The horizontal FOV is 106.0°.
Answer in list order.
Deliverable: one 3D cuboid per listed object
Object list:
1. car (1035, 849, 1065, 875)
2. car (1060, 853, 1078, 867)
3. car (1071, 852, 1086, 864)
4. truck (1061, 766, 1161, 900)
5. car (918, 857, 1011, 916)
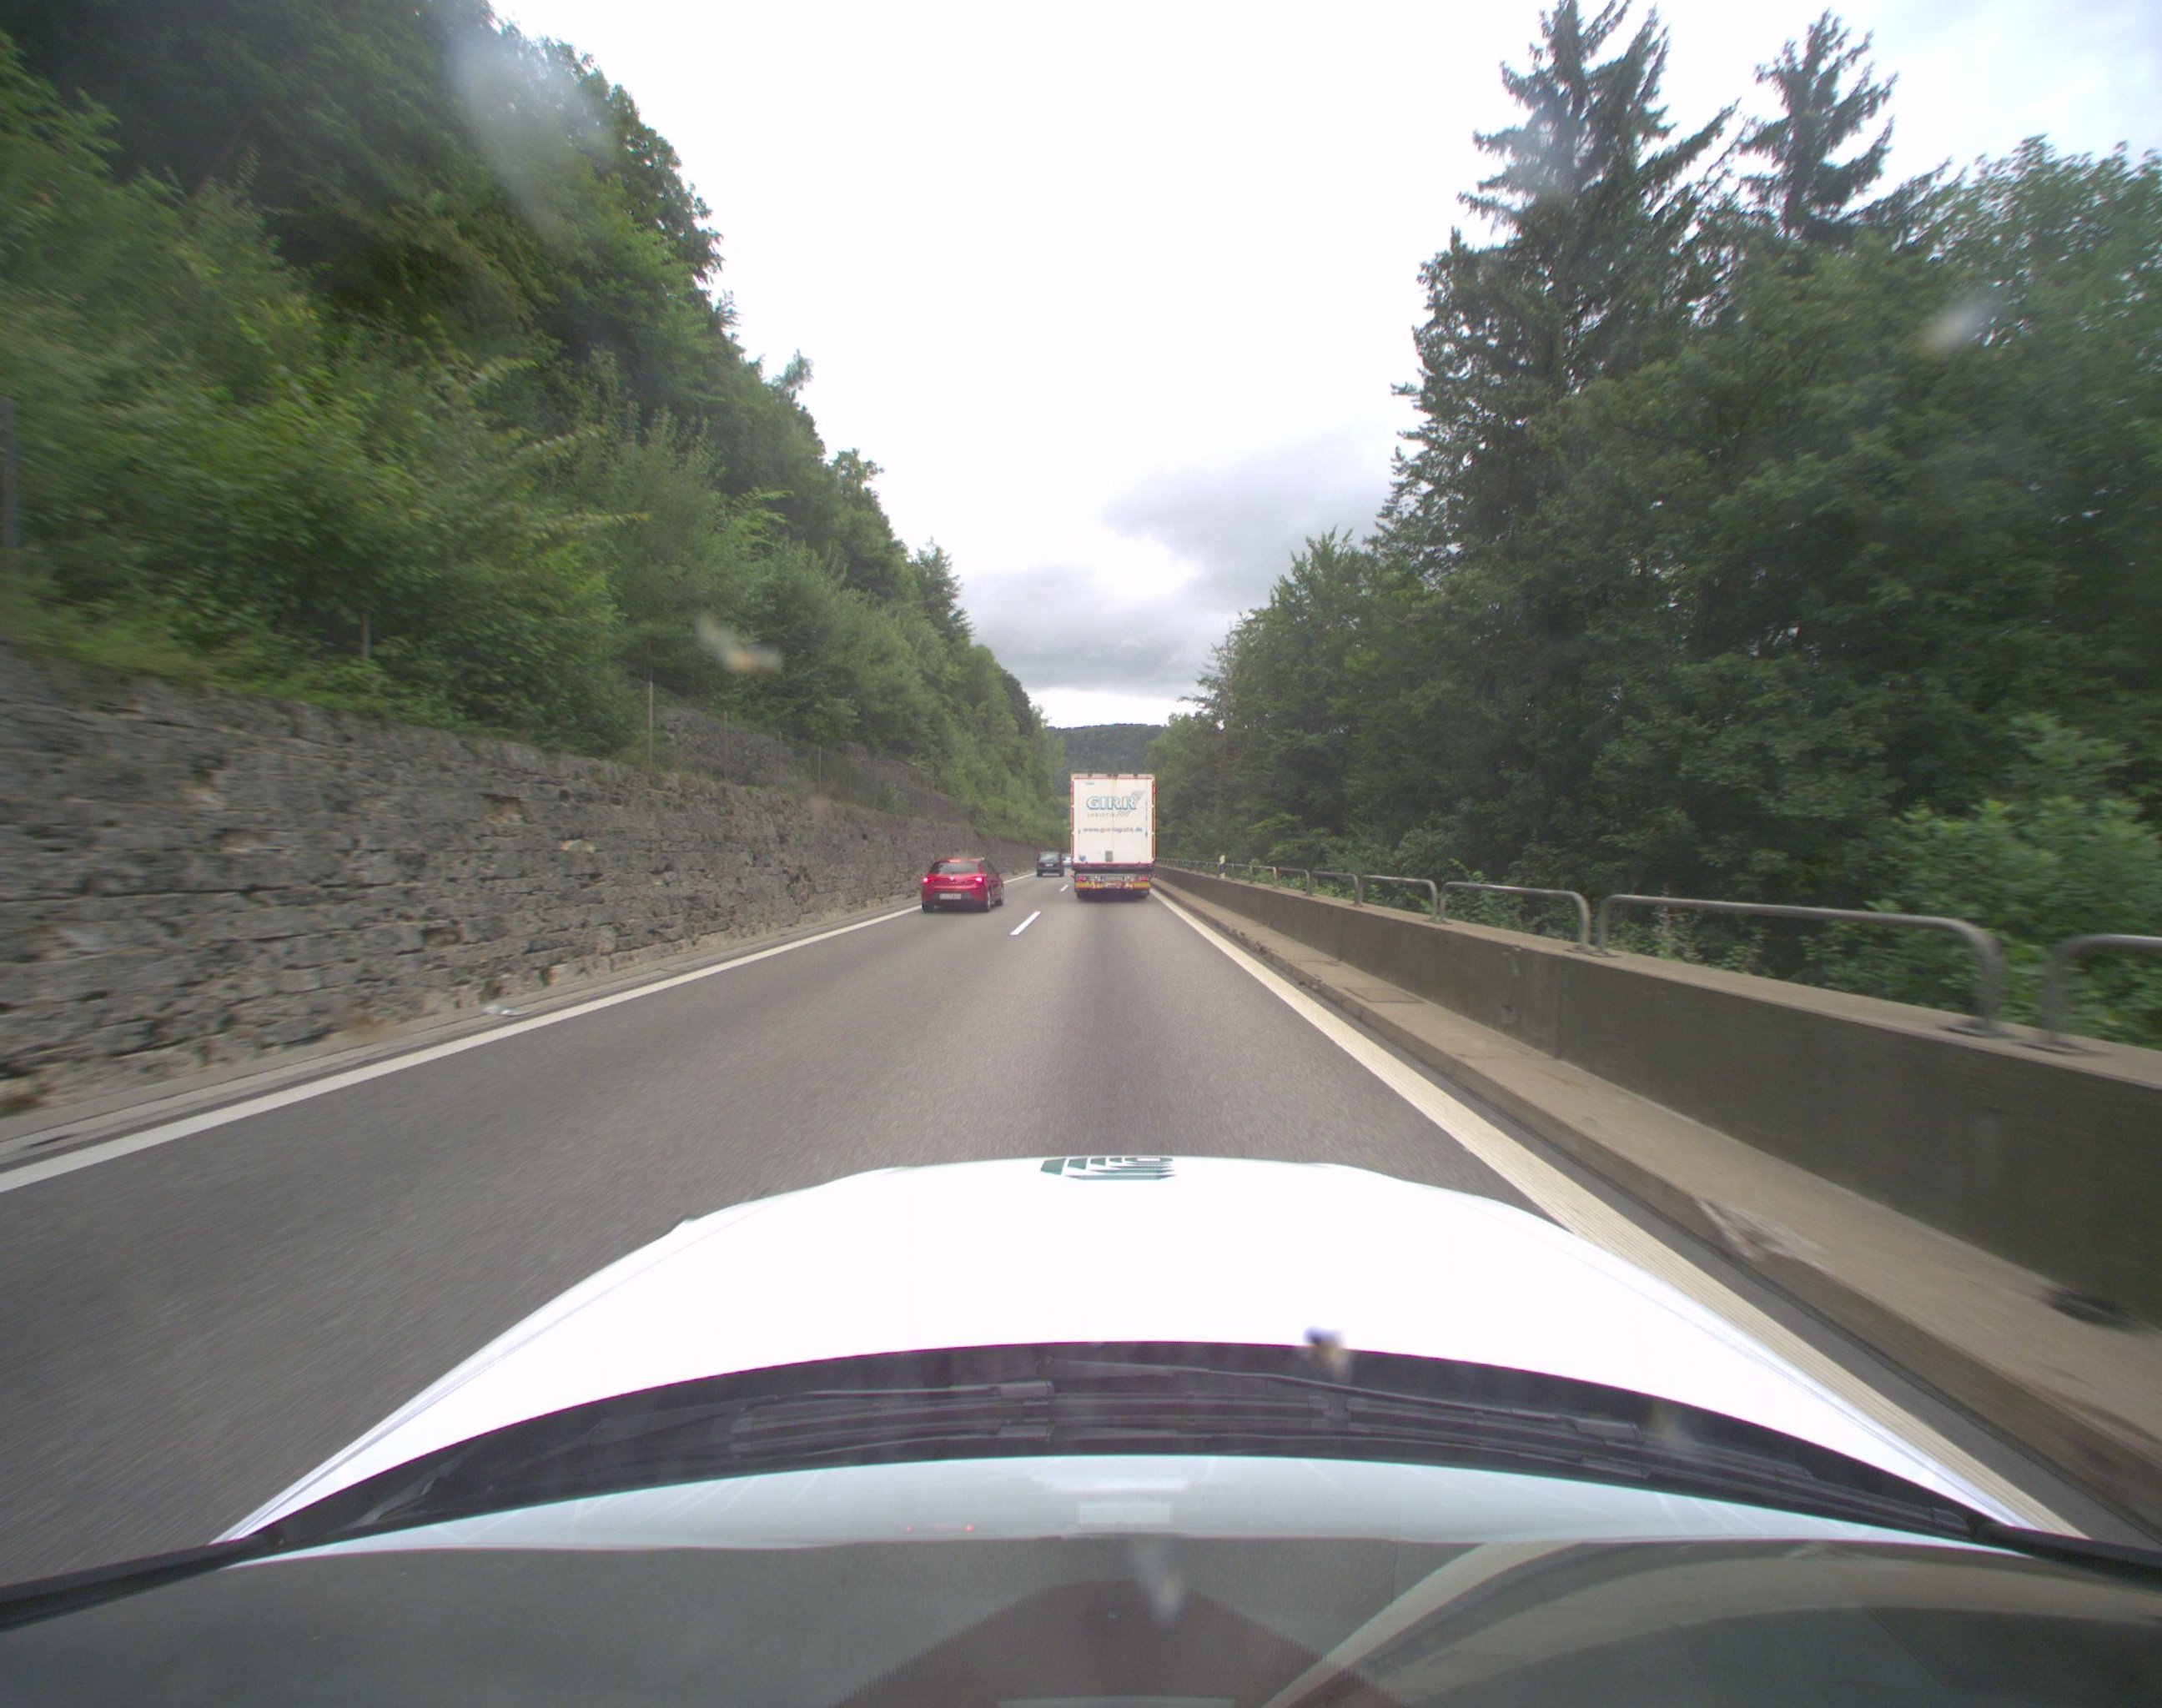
[{"bbox_3d":[-2.032,0.533,53.741,1.662,1.639,4.070,-1,-1,2],"label":"car"},{"bbox_3d":[-1.253,0.660,86.984,1.722,1.486,4.001,-1,-1,2],"label":"car"},{"bbox_3d":[-0.370,0.580,115.110,1.910,1.595,4.180,-1,-1,2],"label":"car"},{"bbox_3d":[1.098,-0.602,28.859,2.897,3.960,9.284,-1,0,2],"label":"truck"},{"bbox_3d":[-3.097,0.828,22.513,1.759,1.460,4.413,-1,-1,2],"label":"car"}]
